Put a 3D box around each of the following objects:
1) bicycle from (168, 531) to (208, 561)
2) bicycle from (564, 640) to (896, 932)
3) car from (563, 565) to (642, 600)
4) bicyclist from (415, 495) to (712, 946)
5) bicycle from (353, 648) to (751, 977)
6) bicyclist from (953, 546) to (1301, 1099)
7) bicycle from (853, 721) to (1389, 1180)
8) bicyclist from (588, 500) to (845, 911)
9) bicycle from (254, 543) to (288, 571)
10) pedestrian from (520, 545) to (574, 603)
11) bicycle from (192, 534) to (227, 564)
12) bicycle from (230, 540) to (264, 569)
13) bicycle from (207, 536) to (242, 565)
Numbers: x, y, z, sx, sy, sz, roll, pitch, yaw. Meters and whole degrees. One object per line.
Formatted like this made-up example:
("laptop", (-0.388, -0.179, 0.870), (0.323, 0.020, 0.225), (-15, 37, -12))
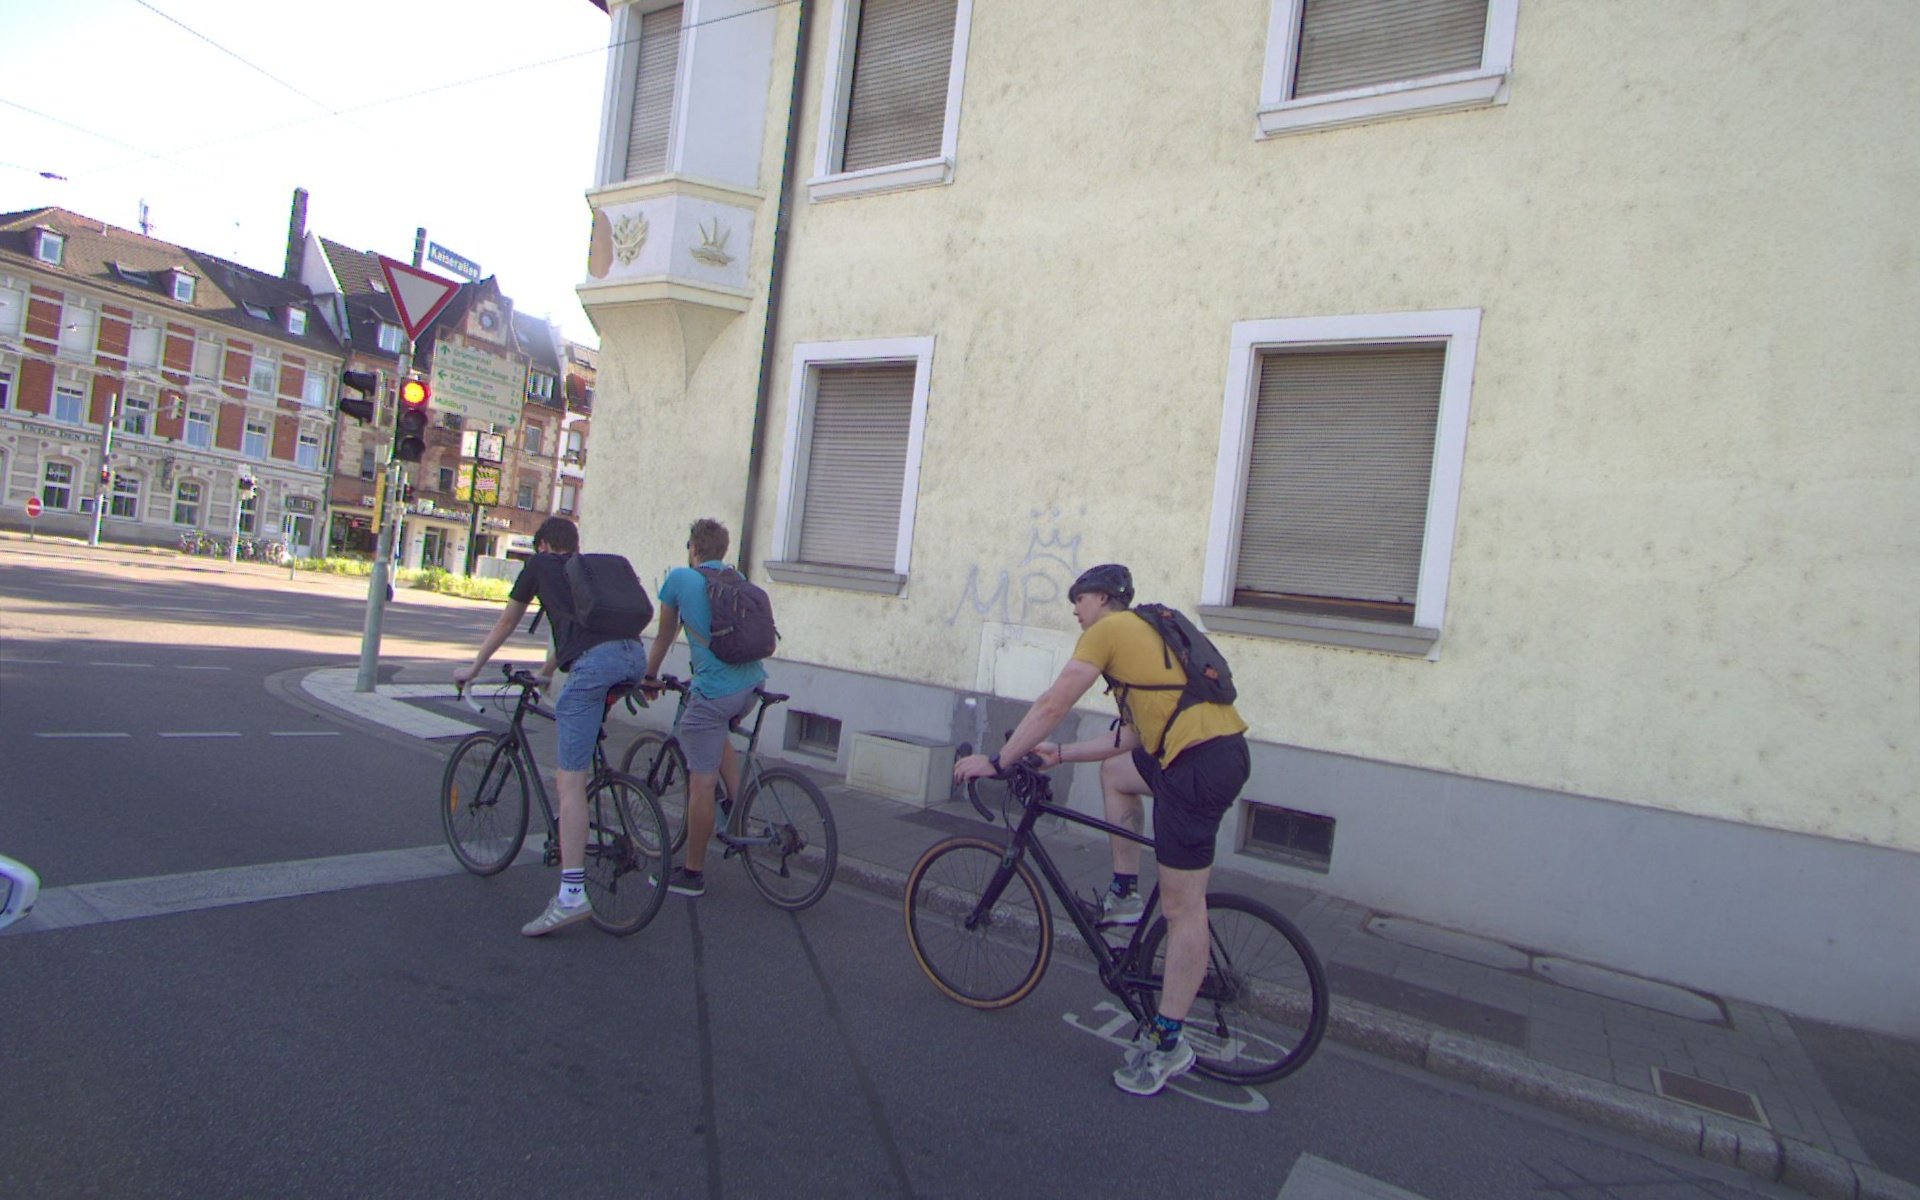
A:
("bicycle", (-35.057, -2.444, 45.686), (2.140, 1.157, 0.806), (7, 0, 37))
("bicycle", (-1.256, 0.886, 5.287), (1.784, 1.130, 0.519), (7, 0, 34))
("car", (-23.166, -1.123, 65.327), (2.116, 1.660, 4.340), (7, -1, 31))
("bicyclist", (-1.805, 0.473, 4.551), (1.083, 1.775, 0.562), (7, 0, 34))
("bicycle", (-1.917, 0.854, 4.597), (1.897, 1.023, 0.645), (7, 0, 34))
("bicyclist", (0.623, 0.734, 3.760), (0.939, 1.742, 0.582), (7, 0, 32))
("bicycle", (0.549, 1.147, 3.772), (1.780, 1.101, 0.611), (7, 0, 32))
("bicyclist", (-1.272, 0.499, 5.252), (0.961, 1.917, 0.602), (6, -1, 34))
("bicycle", (-33.110, -2.066, 48.321), (2.102, 1.150, 0.609), (7, 0, 37))
("pedestrian", (-16.564, -1.038, 40.383), (1.285, 2.068, 1.321), (7, 0, 31))
("bicycle", (-34.543, -2.354, 46.288), (2.140, 1.157, 0.618), (7, 0, 37))
("bicycle", (-33.675, -2.159, 47.517), (2.140, 1.157, 0.618), (7, 0, 37))
("bicycle", (-34.208, -2.306, 46.765), (2.140, 1.157, 0.618), (7, 0, 37))
